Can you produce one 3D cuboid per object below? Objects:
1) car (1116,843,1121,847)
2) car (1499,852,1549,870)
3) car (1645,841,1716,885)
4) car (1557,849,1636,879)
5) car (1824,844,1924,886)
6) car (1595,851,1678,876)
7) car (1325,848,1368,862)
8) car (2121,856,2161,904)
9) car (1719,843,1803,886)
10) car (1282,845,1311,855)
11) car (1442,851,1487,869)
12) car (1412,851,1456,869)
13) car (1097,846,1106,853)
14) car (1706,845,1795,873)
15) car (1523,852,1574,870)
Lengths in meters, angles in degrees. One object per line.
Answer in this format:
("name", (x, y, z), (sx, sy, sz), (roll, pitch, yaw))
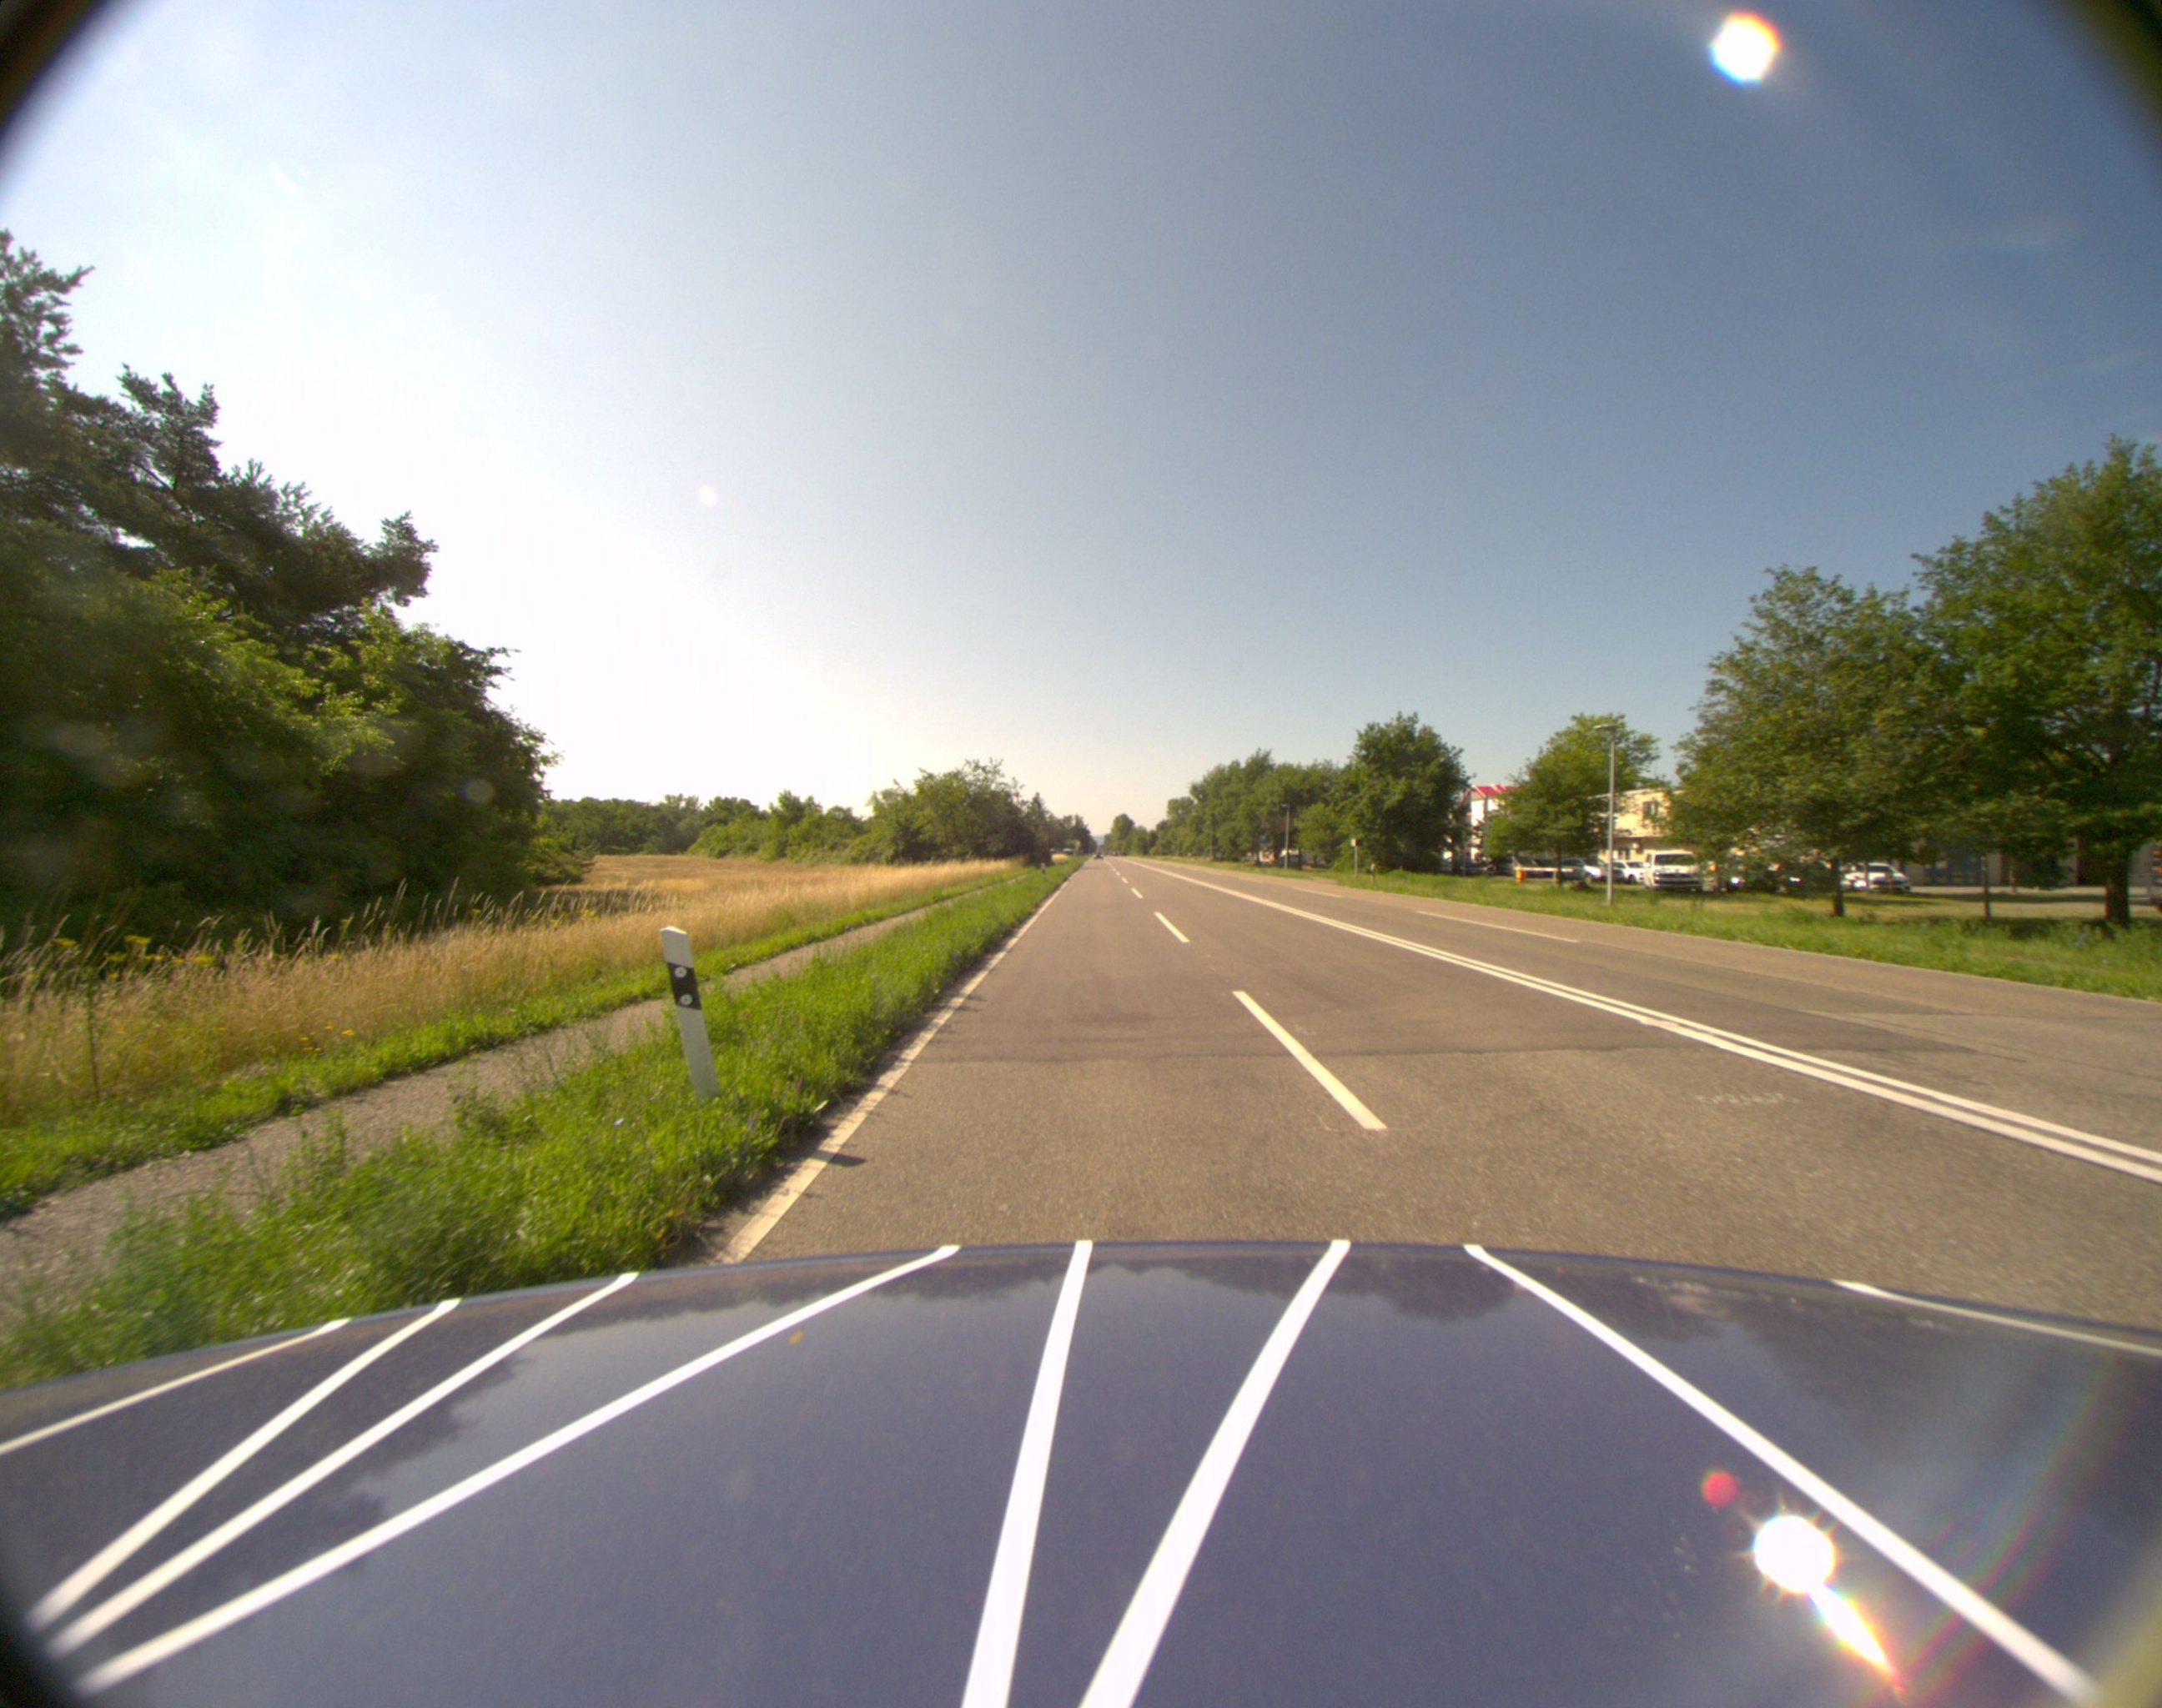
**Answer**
("car", (12.735, -3.029, 260.295), (1.520, 1.442, 3.775), (2, 1, 1))
("car", (35.134, 0.535, 60.329), (1.676, 1.342, 3.999), (0, 1, 1))
("car", (28.186, 0.359, 35.892), (2.068, 1.918, 5.025), (0, 2, 32))
("car", (30.805, 0.579, 45.567), (1.934, 1.642, 4.191), (0, 1, 0))
("car", (37.592, 0.466, 36.181), (2.068, 1.796, 5.025), (0, 1, 32))
("car", (33.140, 0.540, 45.478), (1.934, 1.386, 4.191), (0, 1, 0))
("car", (31.729, 0.120, 90.824), (4.361, 1.318, 1.857), (3, 2, 1))
("car", (36.809, 0.826, 24.464), (3.997, 1.528, 1.887), (0, 1, 0))
("car", (31.671, 0.411, 35.544), (2.068, 1.796, 5.025), (0, 1, 32))
("car", (33.180, -0.608, 117.041), (3.997, 1.492, 1.757), (0, 1, 1))
("car", (30.892, 0.470, 61.269), (1.676, 1.342, 3.999), (0, 1, 1))
("car", (28.200, 0.492, 60.821), (1.676, 1.342, 3.999), (0, 1, 1))
("car", (3.940, -0.883, 146.707), (1.768, 1.403, 4.001), (0, 0, 2))
("car", (41.323, 0.291, 47.047), (1.861, 1.648, 4.168), (0, 1, 1))
("car", (37.601, 0.552, 61.167), (1.676, 1.342, 3.999), (0, 1, 1))
